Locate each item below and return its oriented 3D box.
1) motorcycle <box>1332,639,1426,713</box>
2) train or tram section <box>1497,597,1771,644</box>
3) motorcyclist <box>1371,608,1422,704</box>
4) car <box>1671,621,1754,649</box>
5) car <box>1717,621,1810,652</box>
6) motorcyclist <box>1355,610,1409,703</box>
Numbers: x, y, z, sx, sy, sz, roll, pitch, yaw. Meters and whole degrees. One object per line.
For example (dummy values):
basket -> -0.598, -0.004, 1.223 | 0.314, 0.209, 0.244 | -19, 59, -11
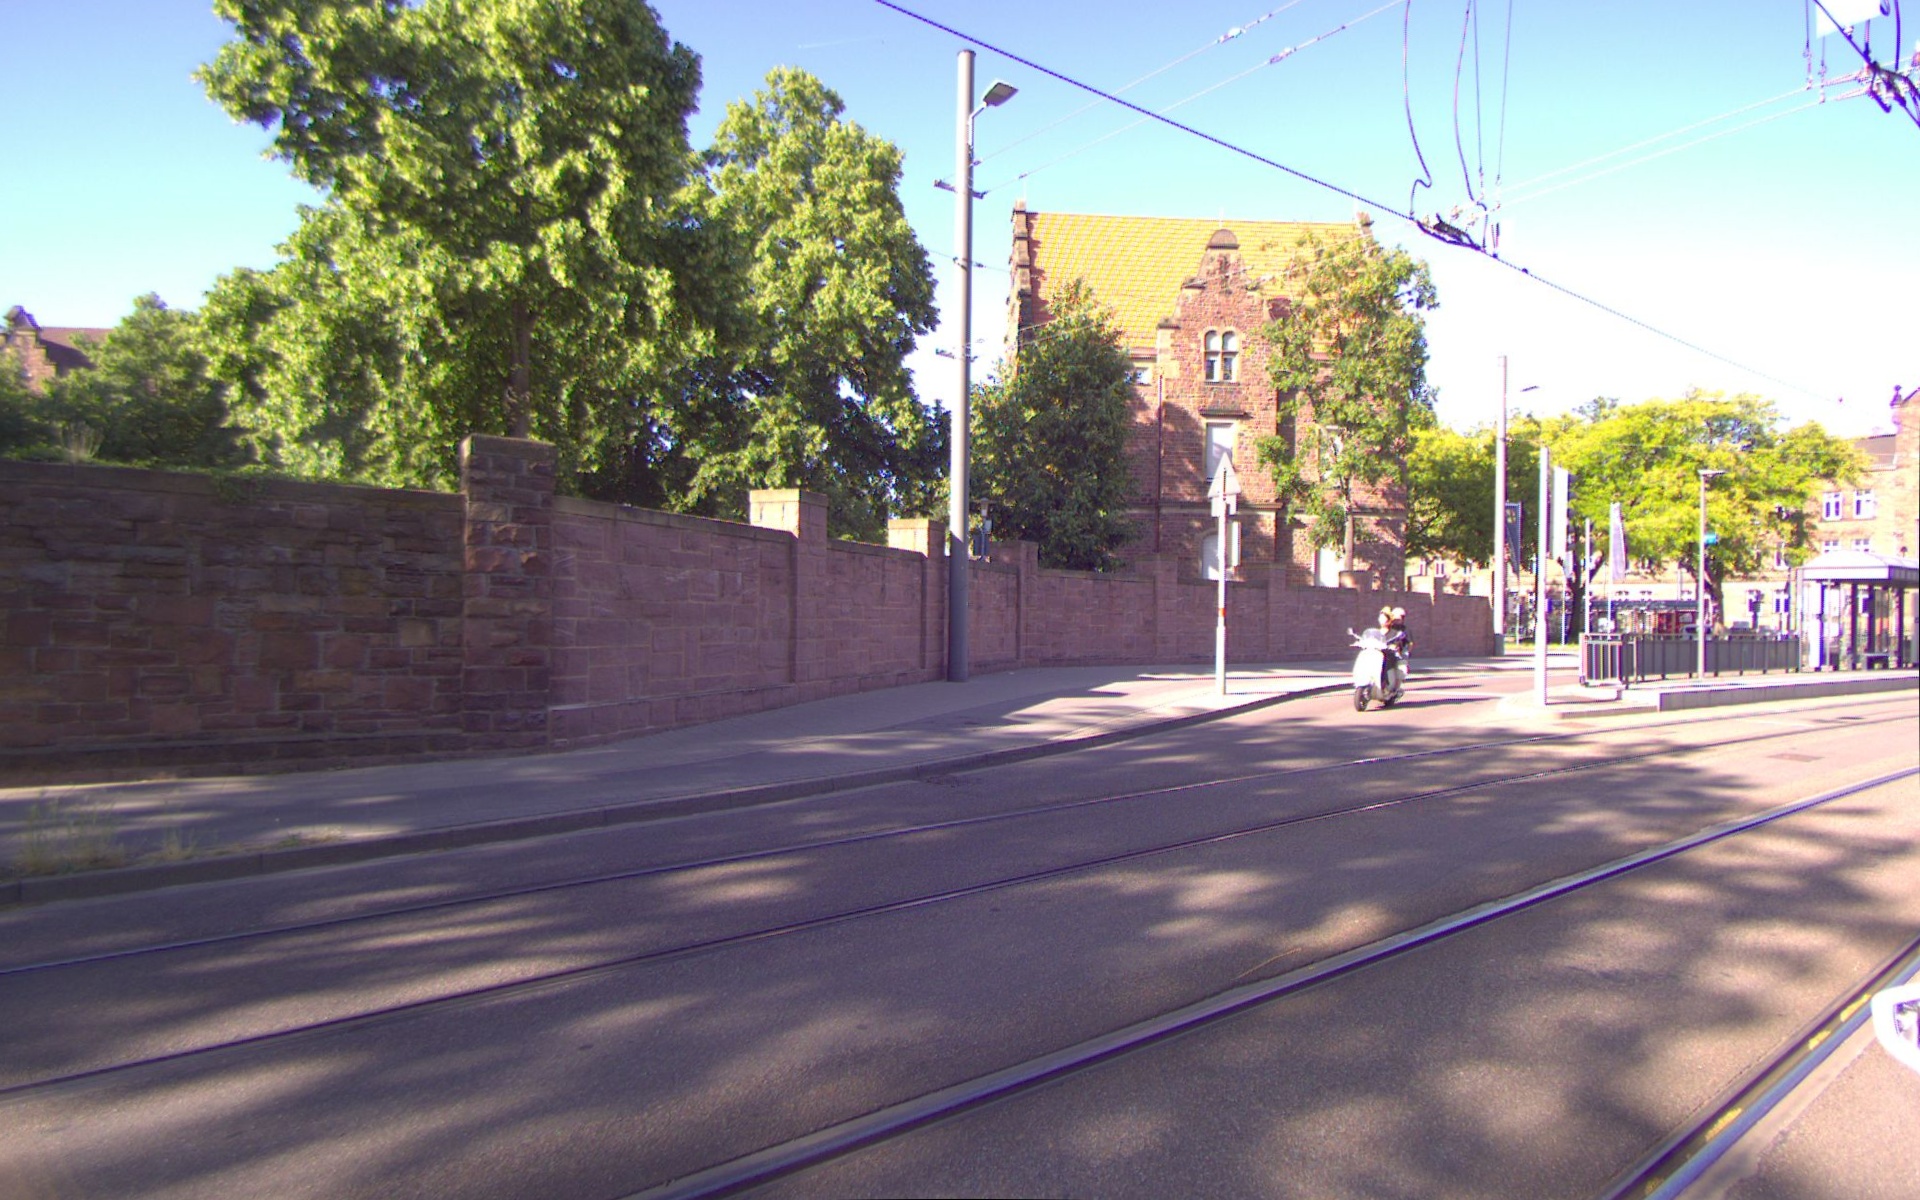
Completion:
motorcycle -> 6.766, 1.190, 16.184 | 1.841, 1.108, 0.604 | 1, 0, -39
train or tram section -> 50.039, 1.463, 75.887 | 3.312, 3.196, 17.280 | 2, -1, -33
motorcyclist -> 7.180, 0.903, 16.527 | 0.462, 1.536, 0.601 | 1, 0, -39
car -> 49.189, 2.245, 65.683 | 1.798, 1.651, 3.964 | 2, 0, -32
car -> 47.764, 2.163, 59.799 | 1.798, 1.651, 3.964 | 2, 0, -32
motorcyclist -> 6.810, 0.891, 16.216 | 0.442, 1.460, 0.678 | 1, 0, -39
